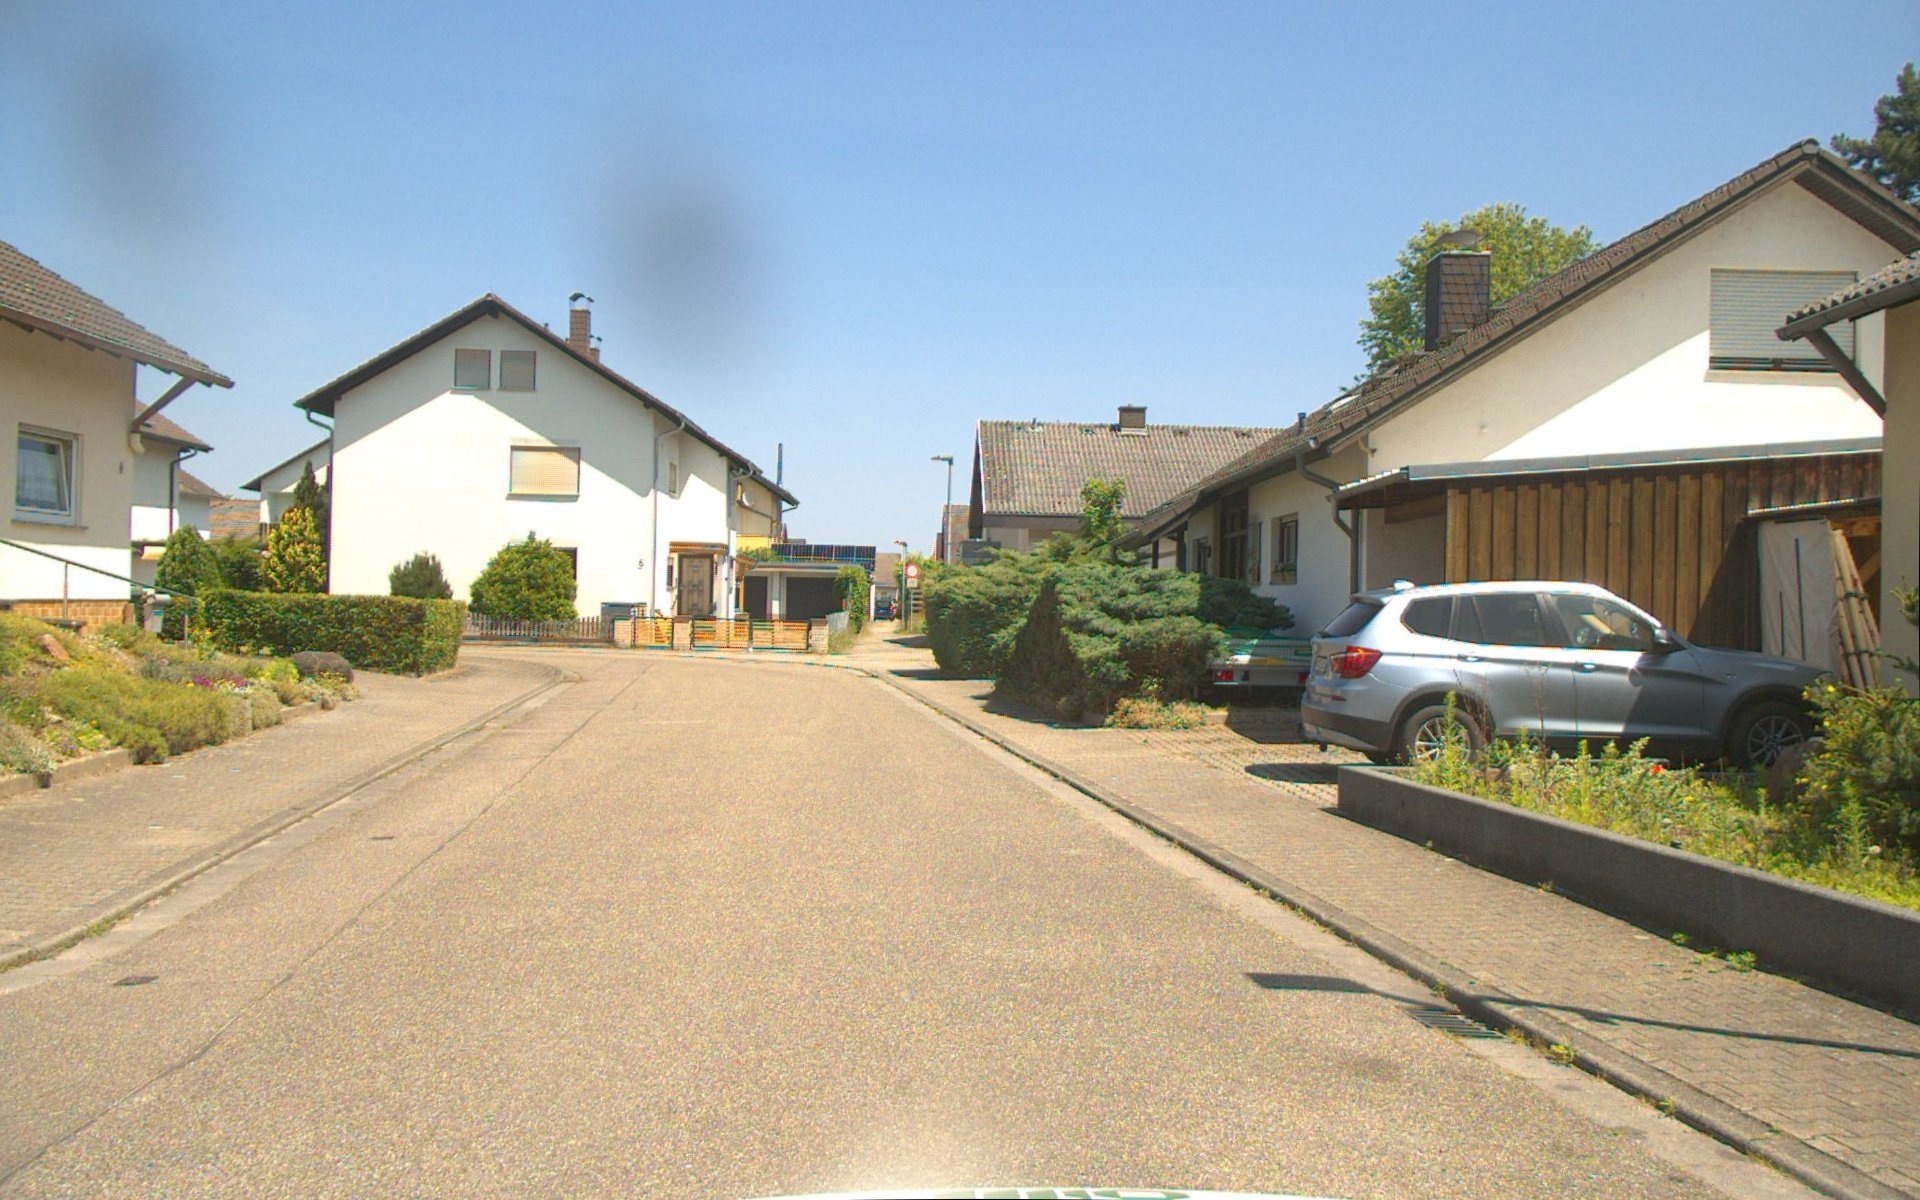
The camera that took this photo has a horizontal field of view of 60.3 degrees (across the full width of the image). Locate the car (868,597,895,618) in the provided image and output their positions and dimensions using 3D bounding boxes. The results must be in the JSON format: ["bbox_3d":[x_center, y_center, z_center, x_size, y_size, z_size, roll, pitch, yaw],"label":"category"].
[{"bbox_3d":[-6.631,0.657,139.840,2.149,1.731,3.806,1,0,-1],"label":"car"}]

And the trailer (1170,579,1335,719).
[{"bbox_3d":[3.809,0.585,22.014,1.555,1.701,3.296,-1,0,-1],"label":"trailer"}]

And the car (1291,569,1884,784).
[{"bbox_3d":[5.329,0.636,14.474,4.531,1.732,1.710,-1,0,1],"label":"car"}]
